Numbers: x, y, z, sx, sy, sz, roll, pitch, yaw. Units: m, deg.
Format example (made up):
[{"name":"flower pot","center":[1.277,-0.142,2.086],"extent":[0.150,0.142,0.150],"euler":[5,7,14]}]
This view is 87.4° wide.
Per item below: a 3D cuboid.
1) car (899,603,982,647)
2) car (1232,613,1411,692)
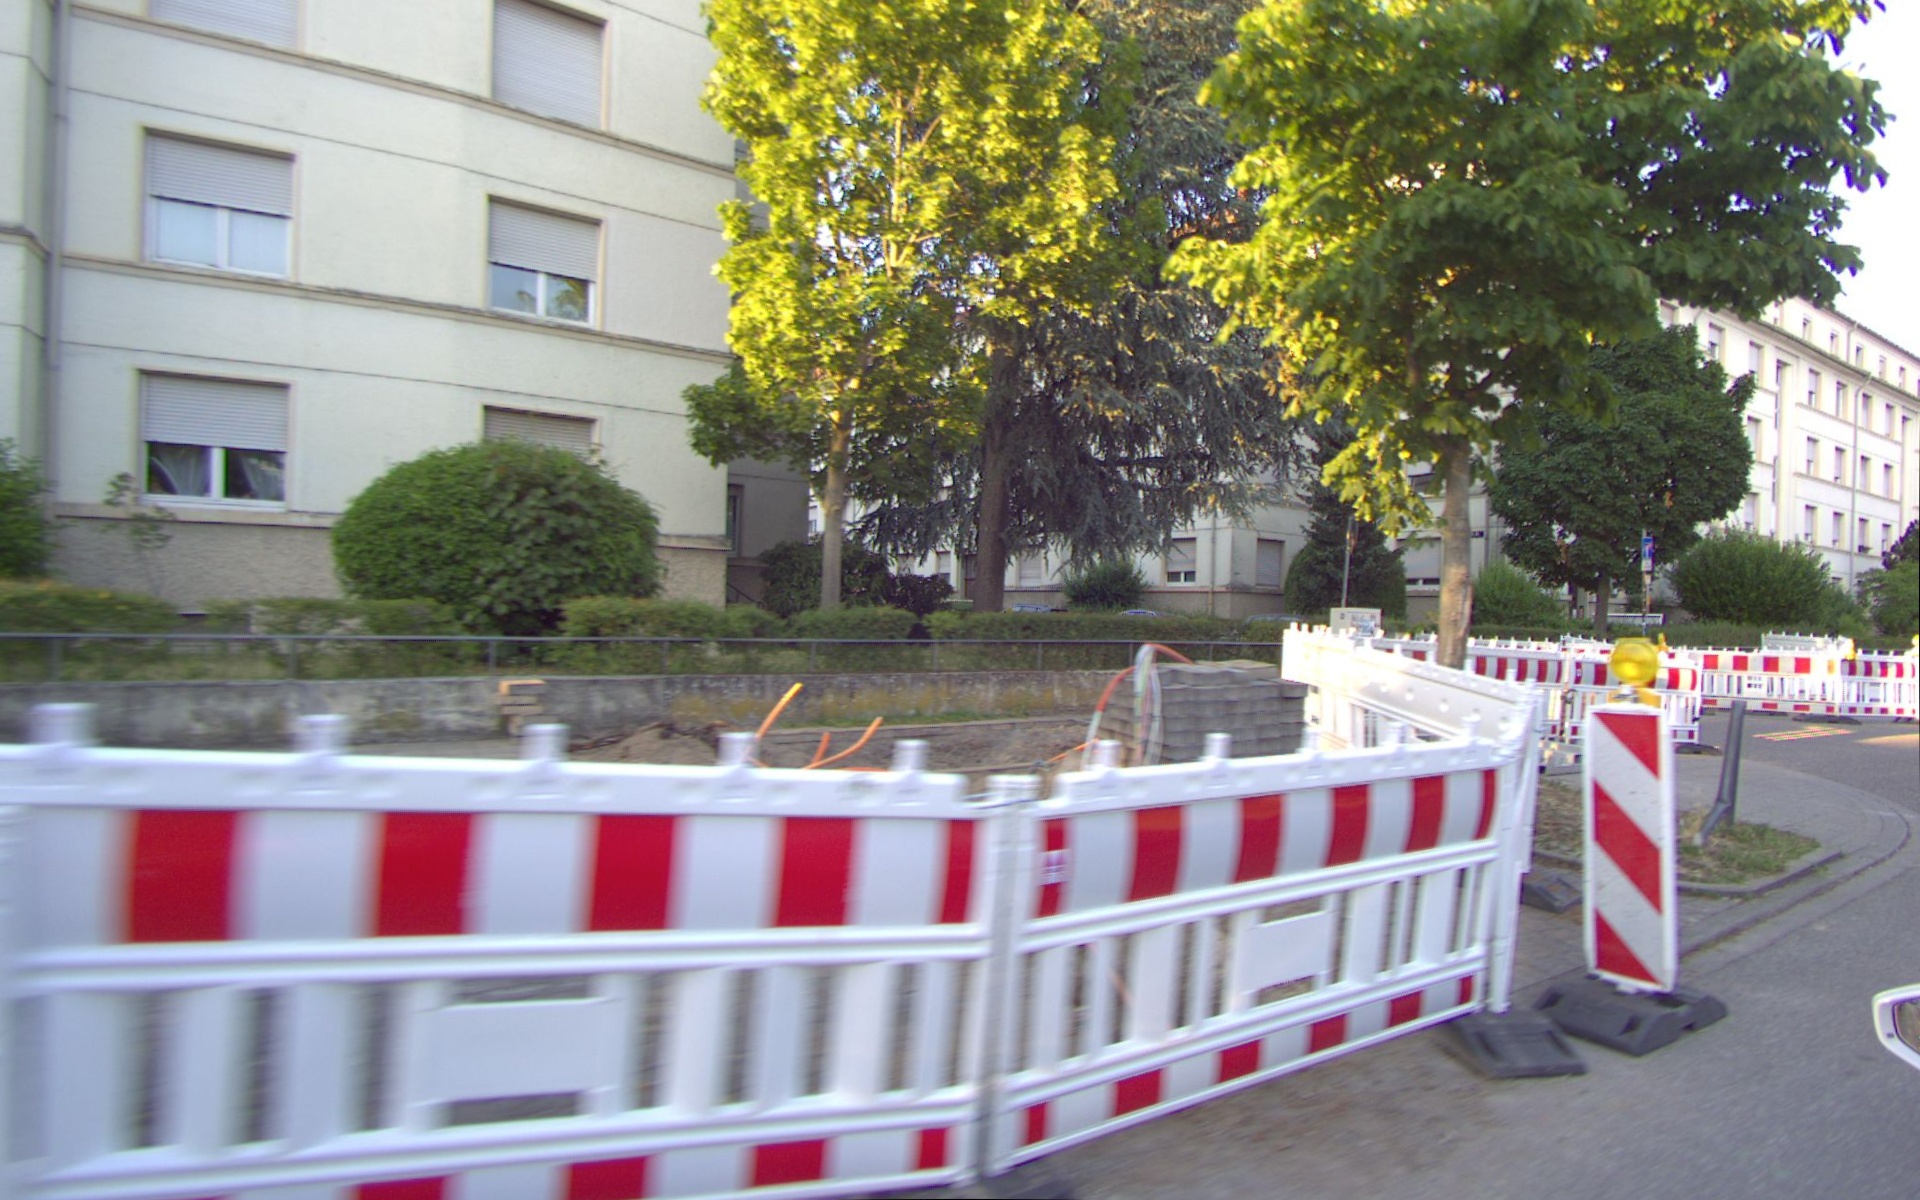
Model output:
[{"name":"car","center":[-0.738,0.881,36.741],"extent":[1.464,1.477,3.144],"euler":[1,0,-36]},{"name":"car","center":[8.566,1.189,24.033],"extent":[1.745,1.611,3.679],"euler":[1,1,-36]}]
